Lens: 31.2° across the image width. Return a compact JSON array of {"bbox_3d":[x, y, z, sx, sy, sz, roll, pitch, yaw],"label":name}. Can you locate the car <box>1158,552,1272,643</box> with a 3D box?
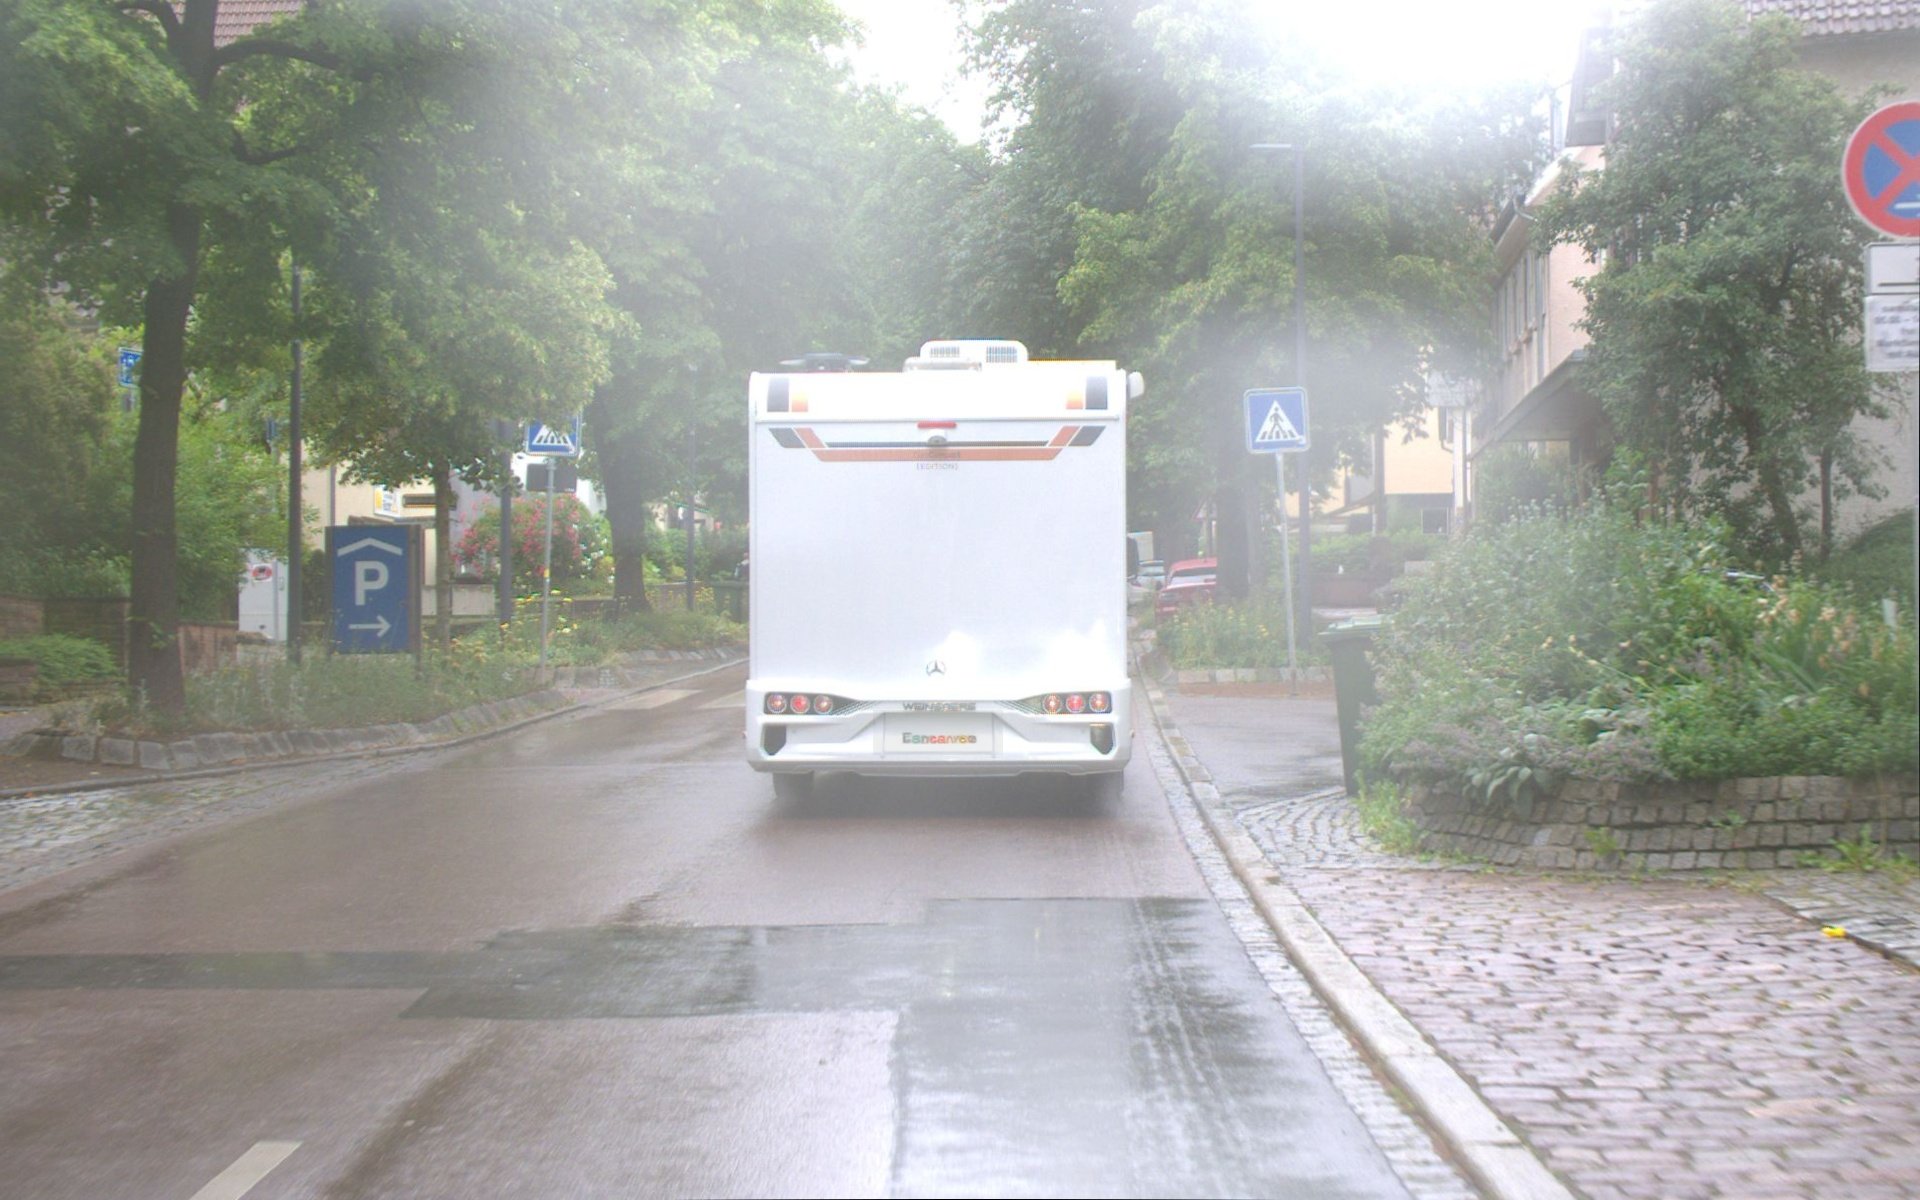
[{"bbox_3d":[4.408,-0.077,59.014,1.855,1.467,4.364,1,1,5],"label":"car"}]

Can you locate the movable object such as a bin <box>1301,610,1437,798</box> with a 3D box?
[{"bbox_3d":[2.502,0.629,21.000,0.704,1.120,0.571,-2,-1,18],"label":"movable object such as a bin"}]

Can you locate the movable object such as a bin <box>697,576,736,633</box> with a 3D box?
[{"bbox_3d":[-4.715,0.085,66.631,0.670,1.101,0.817,-1,-1,2],"label":"movable object such as a bin"}]

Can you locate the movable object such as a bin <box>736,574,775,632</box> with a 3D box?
[{"bbox_3d":[-3.908,0.067,65.792,0.670,1.101,0.817,-1,-1,2],"label":"movable object such as a bin"}]

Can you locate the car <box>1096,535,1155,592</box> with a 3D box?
[{"bbox_3d":[4.754,-1.034,98.753,1.649,1.536,3.530,-1,0,3],"label":"car"}]

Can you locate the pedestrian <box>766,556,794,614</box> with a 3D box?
[{"bbox_3d":[-5.756,-0.490,109.757,0.817,1.838,0.770,0,-1,2],"label":"pedestrian"}]

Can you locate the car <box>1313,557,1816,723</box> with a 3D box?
[{"bbox_3d":[5.448,0.345,31.403,4.283,1.412,1.840,1,1,2],"label":"car"}]

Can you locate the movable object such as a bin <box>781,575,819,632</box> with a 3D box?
[{"bbox_3d":[-3.077,0.070,66.110,0.670,1.091,0.817,-1,-1,2],"label":"movable object such as a bin"}]

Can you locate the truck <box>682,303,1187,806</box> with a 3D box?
[{"bbox_3d":[-0.048,-0.234,22.561,2.806,2.787,6.106,-1,0,2],"label":"truck"}]
